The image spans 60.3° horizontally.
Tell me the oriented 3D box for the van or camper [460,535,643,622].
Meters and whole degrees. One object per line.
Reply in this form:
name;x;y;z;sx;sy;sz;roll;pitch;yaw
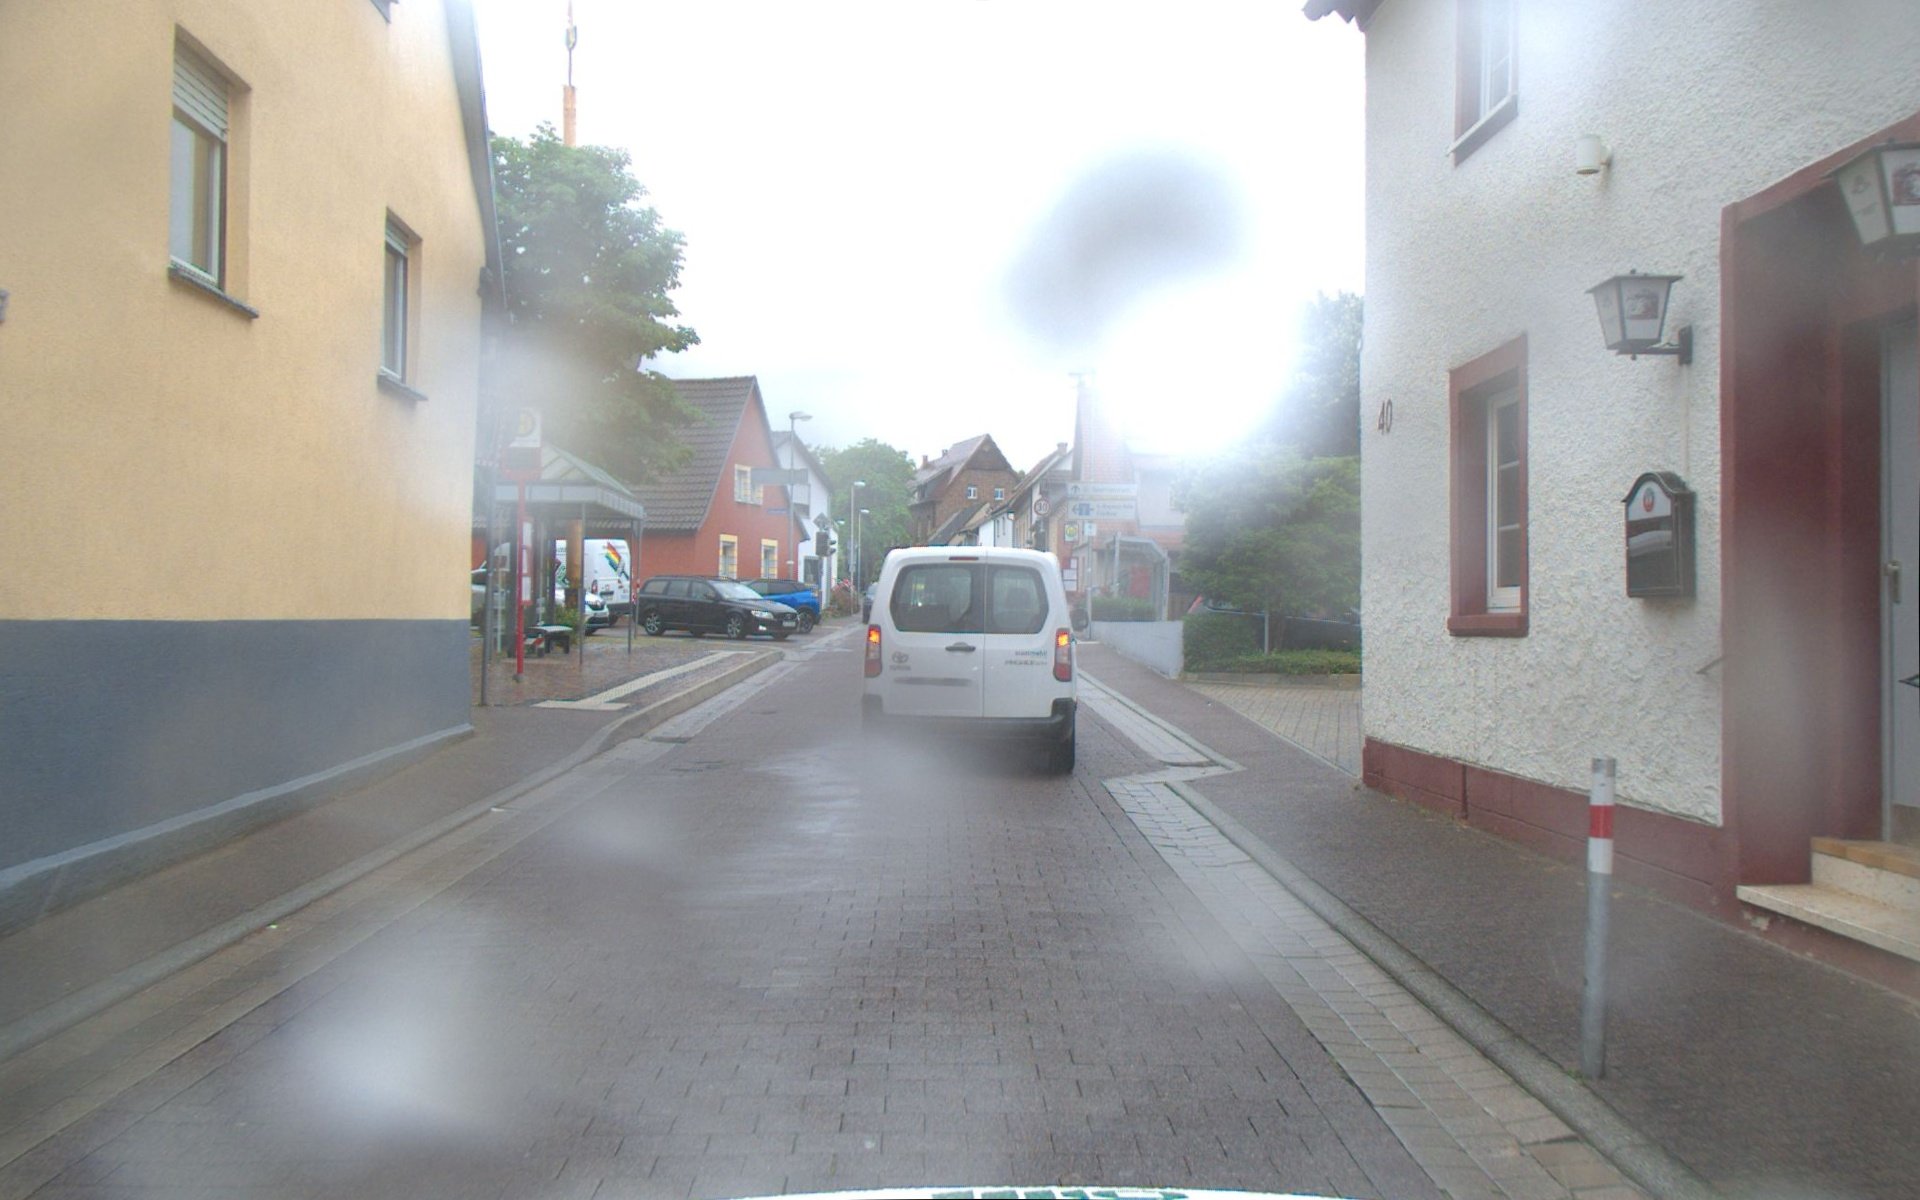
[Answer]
van or camper;-12.124;-0.662;49.090;5.040;2.478;2.210;1;1;25

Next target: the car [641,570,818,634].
car;-5.743;0.012;41.007;4.225;1.503;1.844;0;1;34

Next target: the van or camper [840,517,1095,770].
van or camper;-0.006;0.306;14.854;1.904;1.883;3.999;2;1;-2

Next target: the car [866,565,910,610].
car;-3.020;-0.539;69.096;1.776;1.810;4.016;0;1;-3

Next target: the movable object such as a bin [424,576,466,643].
movable object such as a bin;-9.085;0.176;29.187;0.551;1.166;0.604;0;-2;-4

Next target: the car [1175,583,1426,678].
car;5.906;0.500;28.685;4.138;1.506;1.696;1;0;14

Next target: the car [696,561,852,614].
car;-5.260;-0.322;46.949;3.960;1.397;2.082;0;-1;-39

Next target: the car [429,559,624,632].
car;-10.743;-0.136;41.059;4.354;1.576;1.883;3;2;20
